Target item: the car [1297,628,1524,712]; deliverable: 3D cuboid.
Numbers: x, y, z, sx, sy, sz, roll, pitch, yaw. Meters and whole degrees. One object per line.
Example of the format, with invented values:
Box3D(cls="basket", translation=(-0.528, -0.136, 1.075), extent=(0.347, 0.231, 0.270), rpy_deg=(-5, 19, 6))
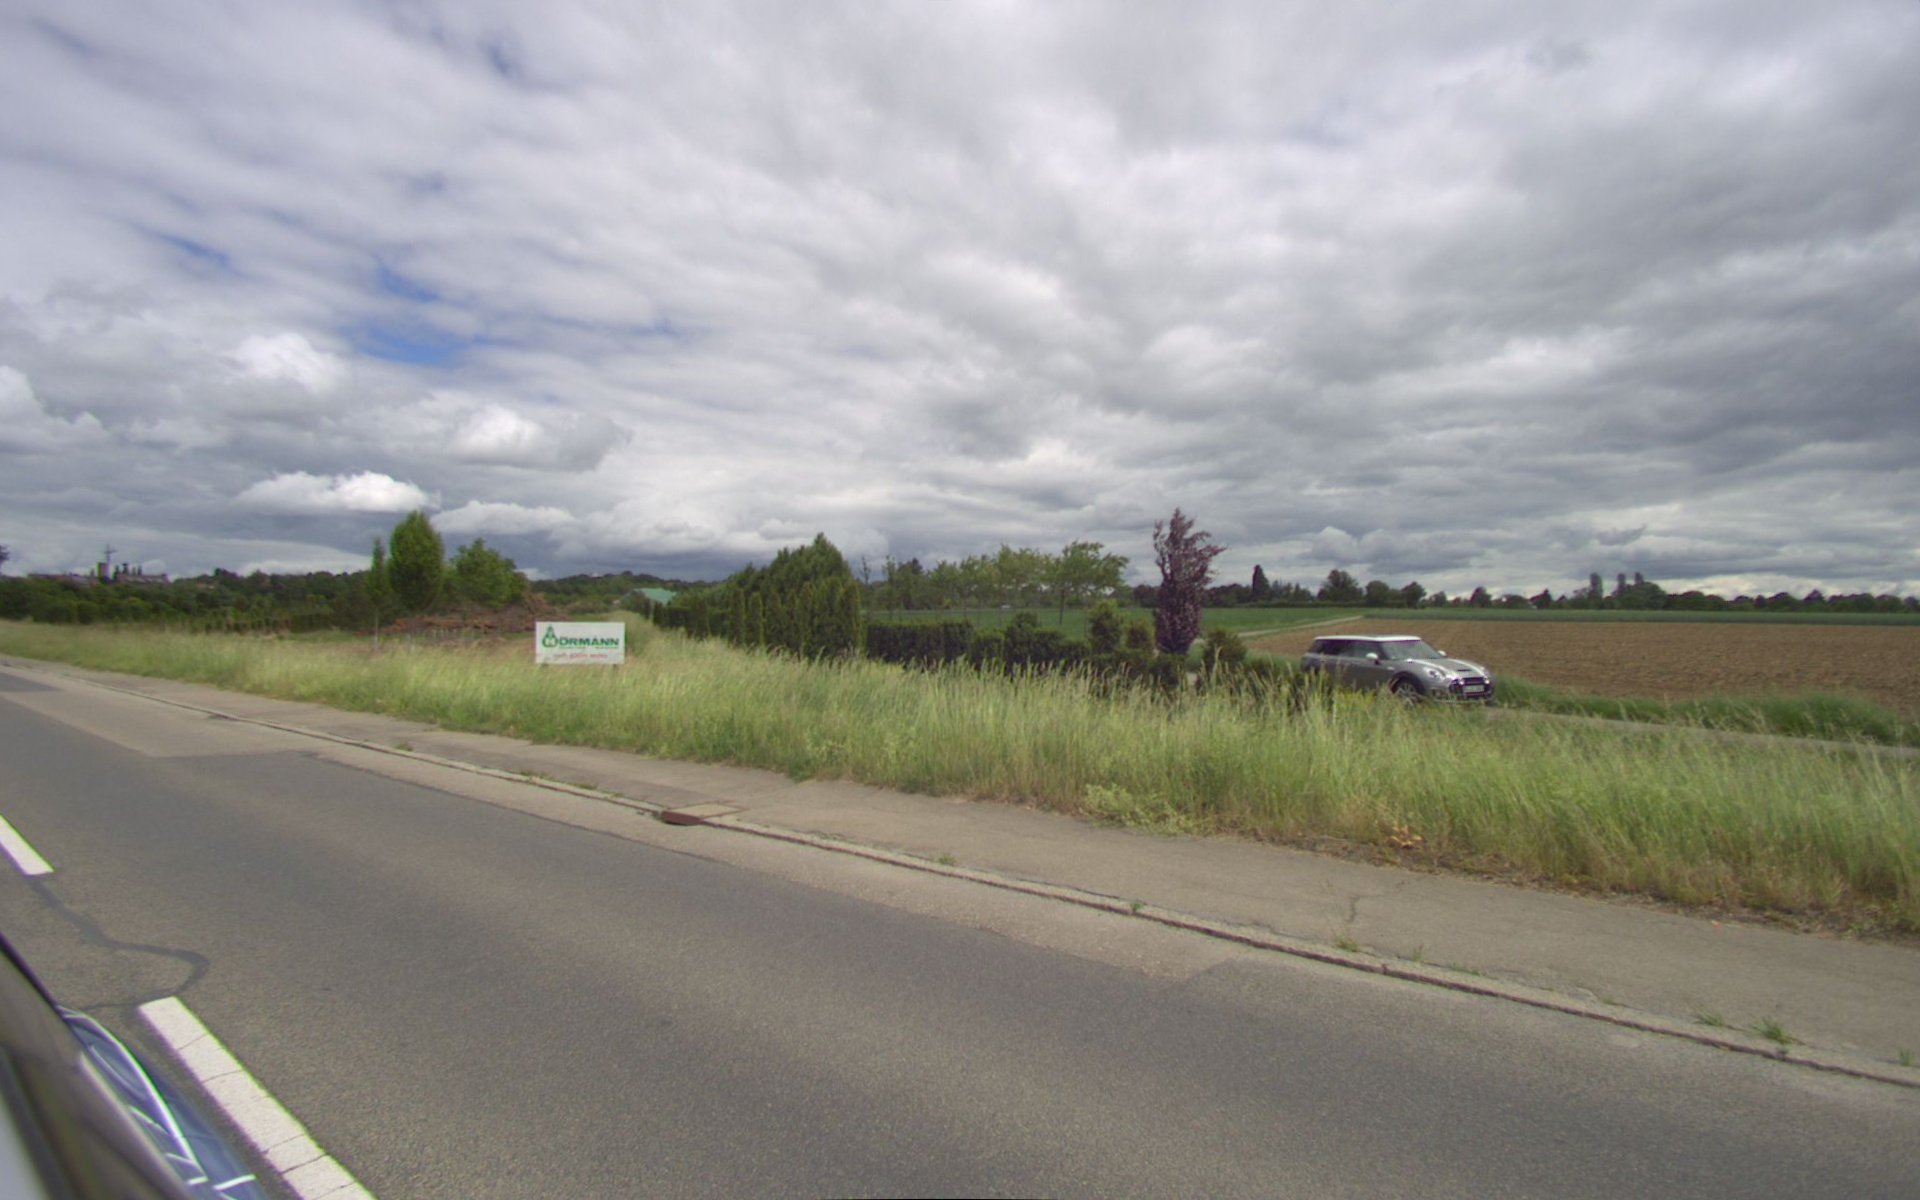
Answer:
Box3D(cls="car", translation=(9.014, 1.335, 20.631), extent=(1.941, 1.464, 4.013), rpy_deg=(0, -1, -22))
